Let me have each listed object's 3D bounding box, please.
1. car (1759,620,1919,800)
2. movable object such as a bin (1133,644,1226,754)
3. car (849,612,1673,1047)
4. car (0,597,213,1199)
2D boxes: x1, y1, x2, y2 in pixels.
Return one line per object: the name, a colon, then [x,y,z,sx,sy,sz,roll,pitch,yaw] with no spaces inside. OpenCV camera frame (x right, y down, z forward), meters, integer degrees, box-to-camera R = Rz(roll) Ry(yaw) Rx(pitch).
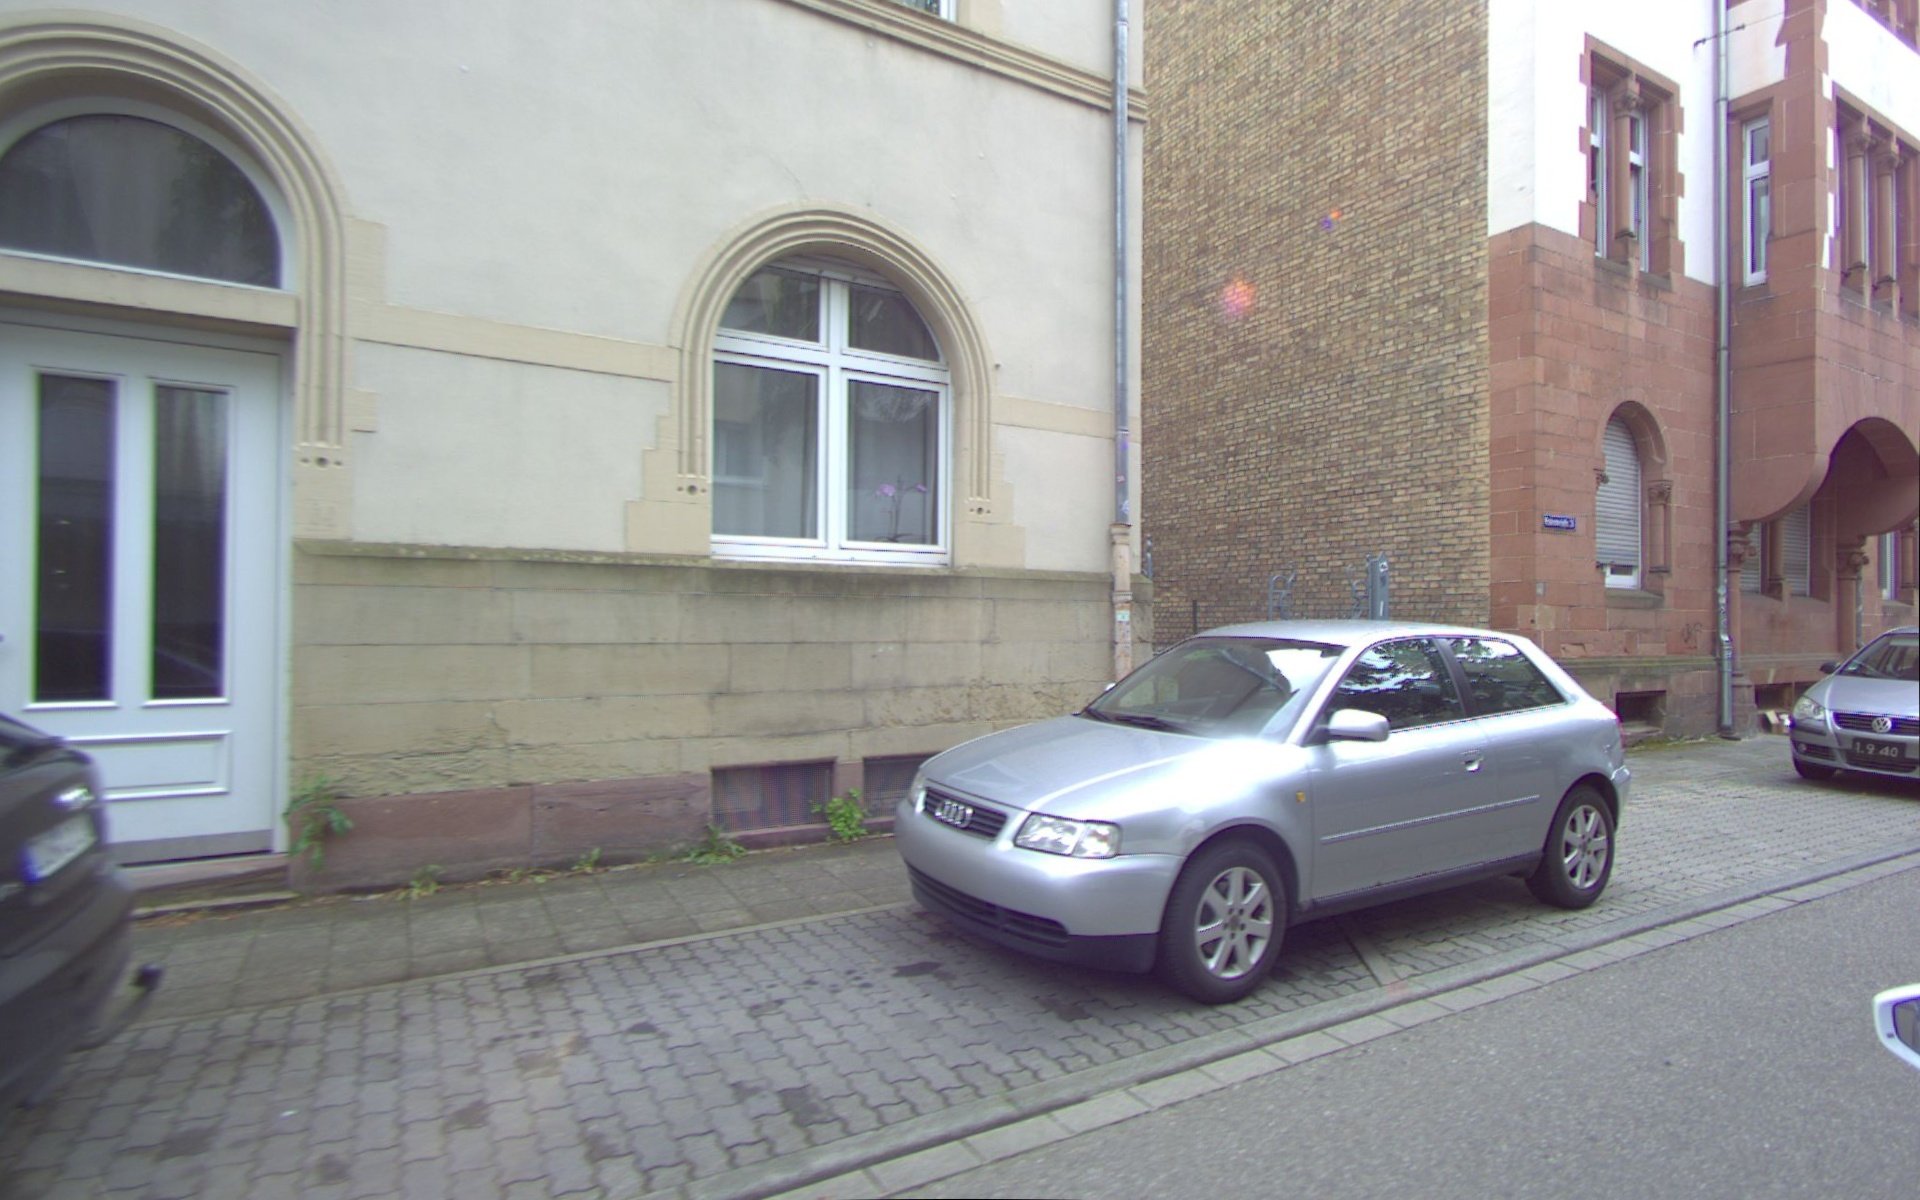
car: [9.367,0.930,9.438,3.883,1.440,1.654,1,0,-31]
movable object such as a bin: [2.279,1.004,10.462,0.722,1.069,0.611,1,0,-31]
car: [1.659,0.790,5.112,4.089,1.405,1.717,1,0,-31]
car: [-3.883,0.707,1.780,3.881,1.405,1.719,0,-2,-30]
